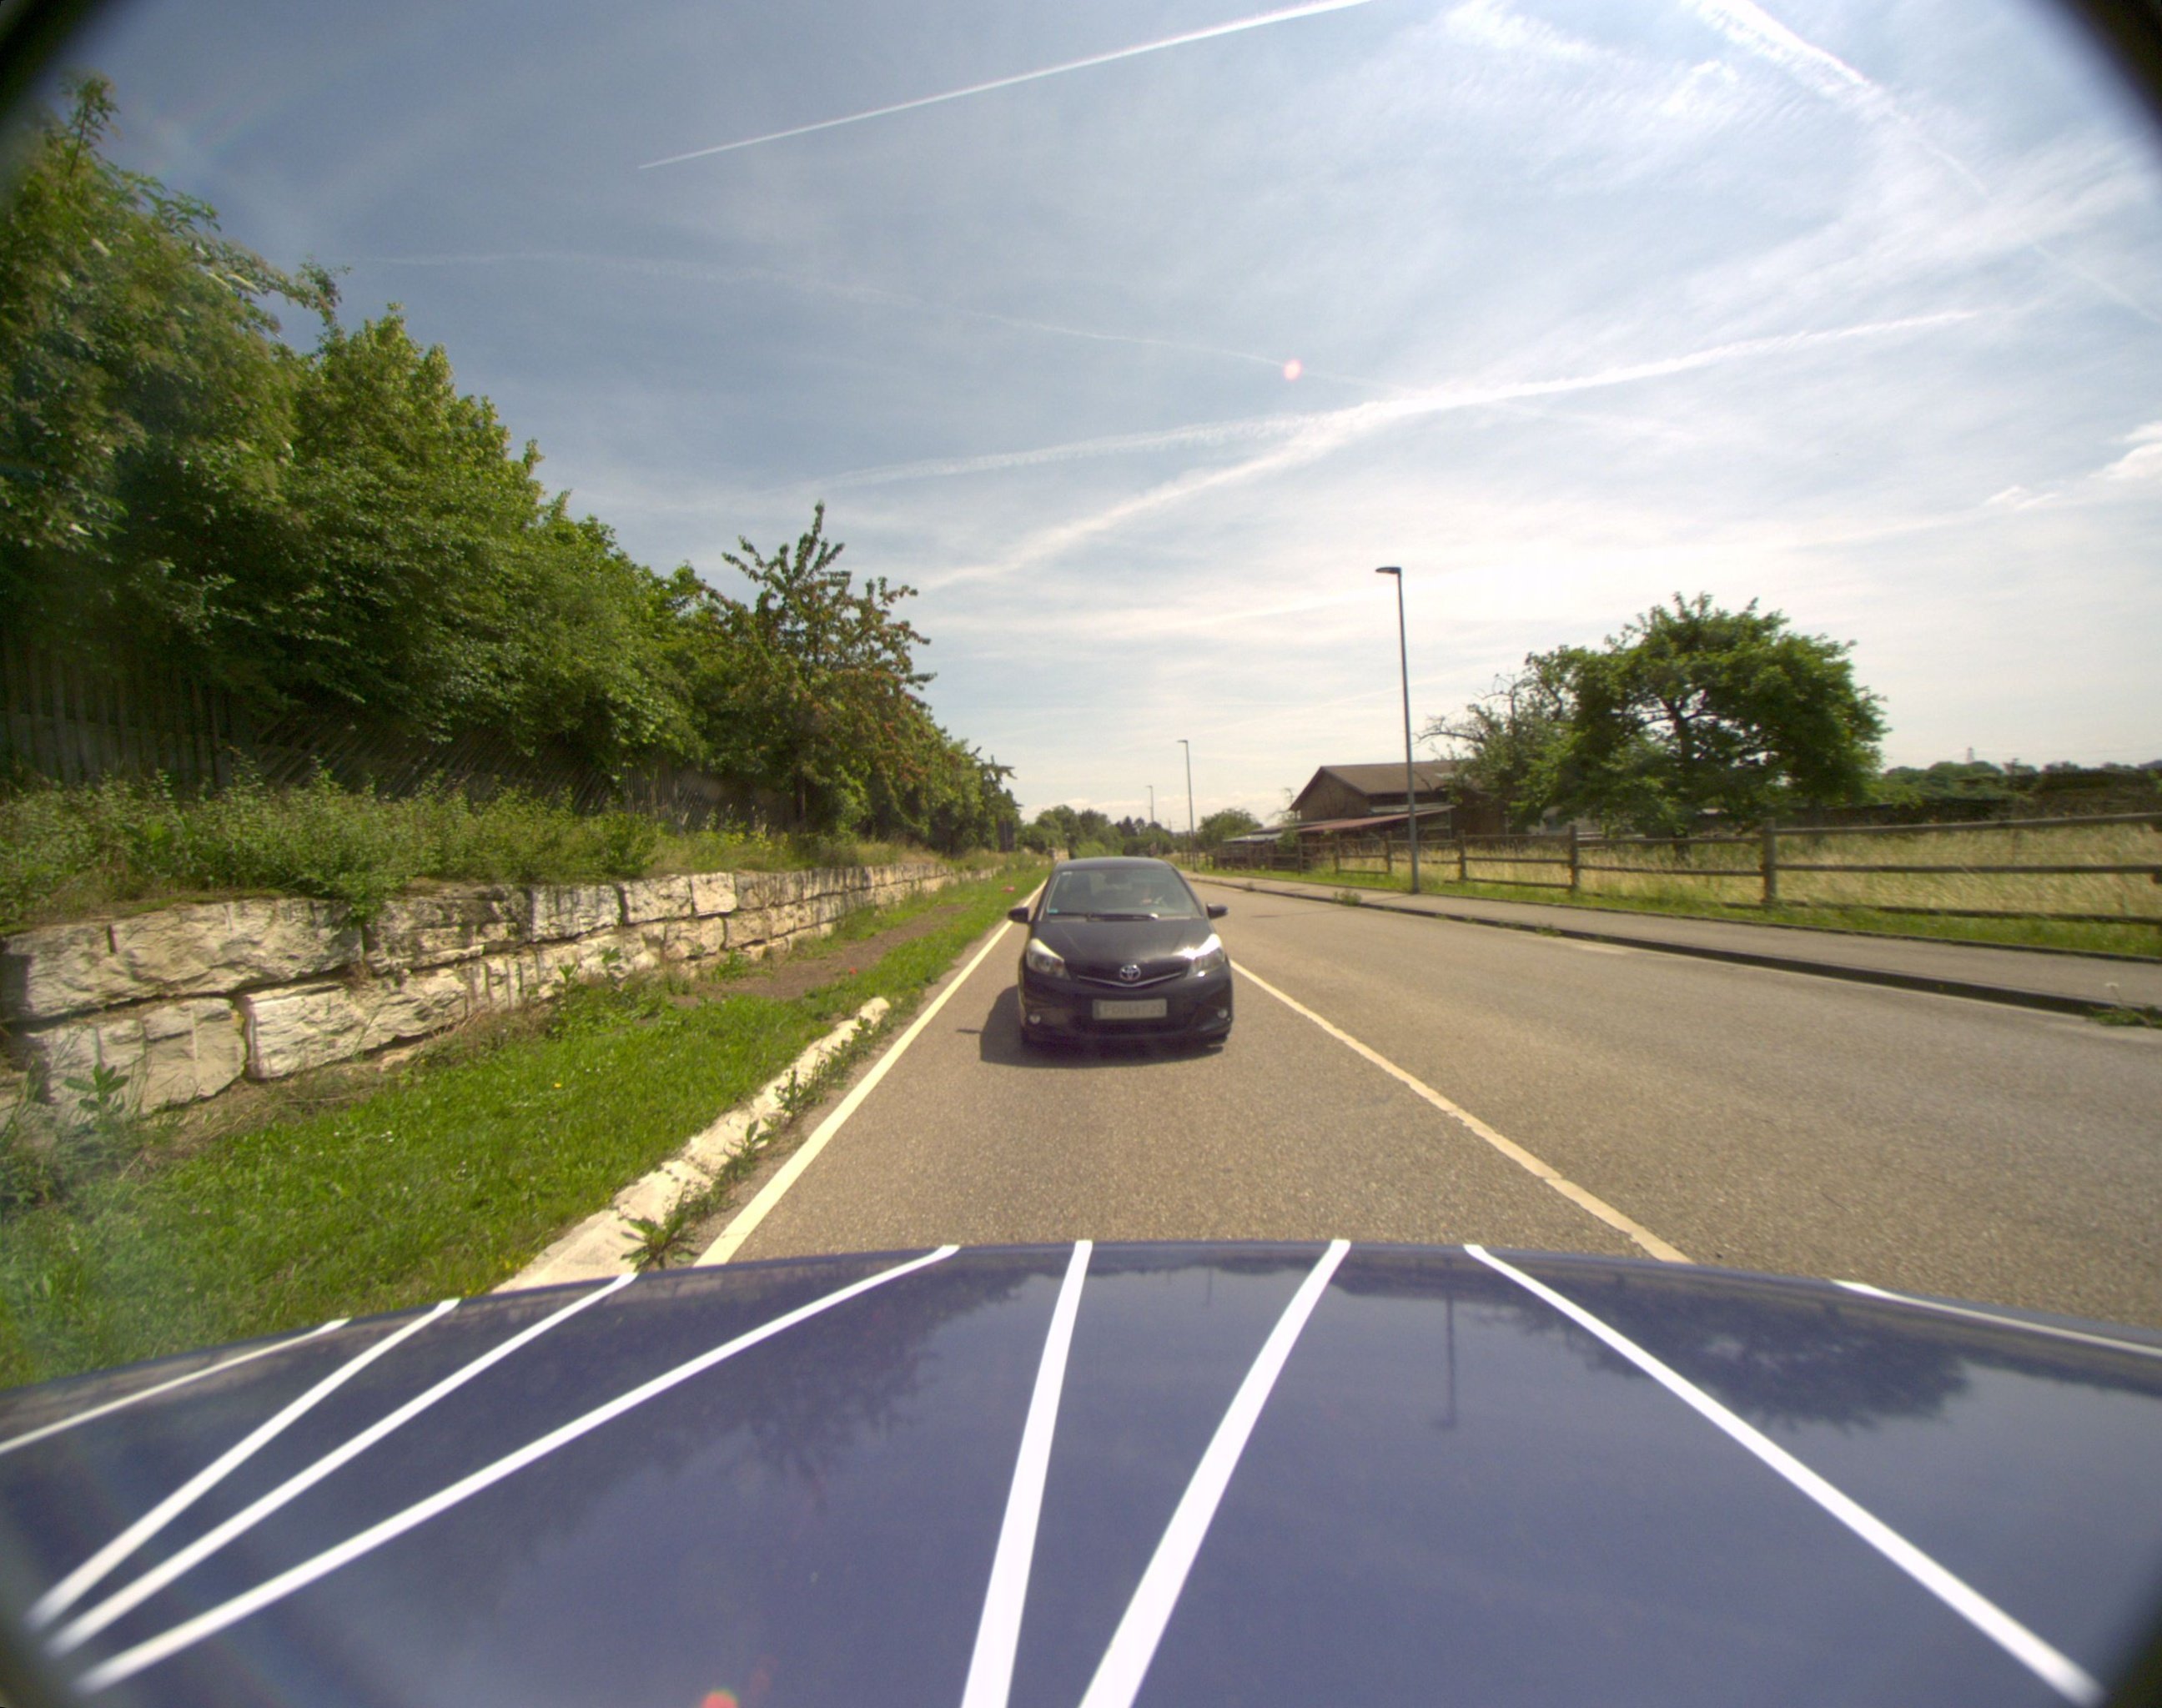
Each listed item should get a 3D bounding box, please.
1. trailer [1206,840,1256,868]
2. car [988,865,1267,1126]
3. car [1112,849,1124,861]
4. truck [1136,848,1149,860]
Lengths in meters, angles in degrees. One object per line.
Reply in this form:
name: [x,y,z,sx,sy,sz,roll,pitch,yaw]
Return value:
trailer: [9.605,-0.010,49.049,2.160,1.693,5.028,-2,0,0]
car: [0.301,0.902,6.895,1.677,1.456,4.432,-2,1,0]
car: [7.069,0.206,146.299,2.191,2.002,4.781,-4,0,2]
truck: [11.766,-0.033,144.402,2.227,2.280,6.494,-2,1,5]
